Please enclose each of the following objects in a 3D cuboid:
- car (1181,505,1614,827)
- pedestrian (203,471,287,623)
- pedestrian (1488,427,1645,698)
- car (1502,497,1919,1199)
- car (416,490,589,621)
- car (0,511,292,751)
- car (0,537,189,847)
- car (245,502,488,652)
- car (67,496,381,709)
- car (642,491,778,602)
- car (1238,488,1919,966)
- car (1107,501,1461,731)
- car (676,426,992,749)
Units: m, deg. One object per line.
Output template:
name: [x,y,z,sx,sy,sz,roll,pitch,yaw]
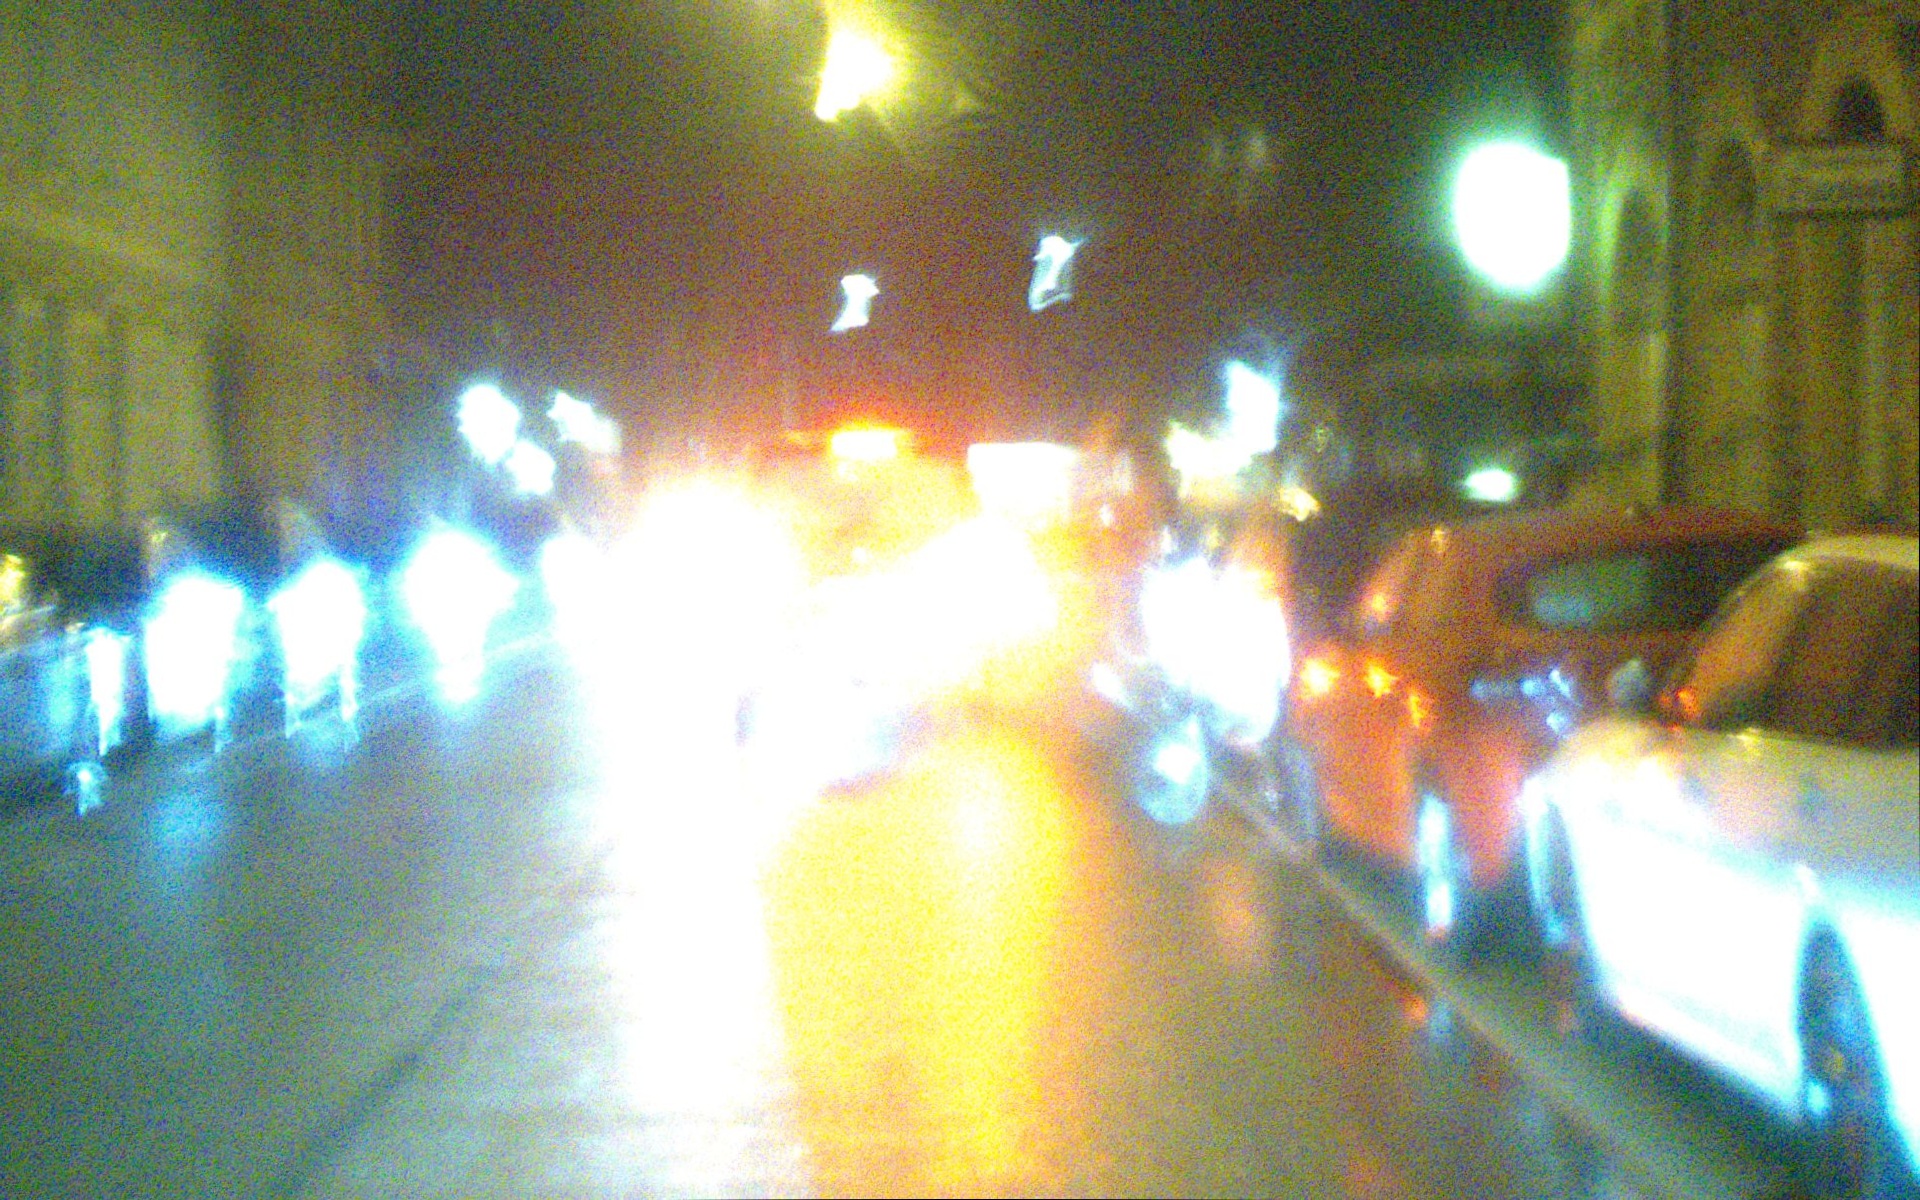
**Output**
car: [2.198,0.263,18.207,1.689,1.493,3.892,-1,1,-1]
pedestrian: [-8.682,-0.646,41.753,0.743,1.798,0.986,1,1,3]
pedestrian: [4.148,-0.273,23.573,0.862,1.782,1.083,-3,2,3]
car: [2.652,0.482,8.055,1.993,1.459,4.417,-1,1,-1]
car: [-6.306,-0.652,47.856,1.832,1.711,4.595,-1,1,-1]
car: [-5.874,0.139,23.426,1.832,1.476,4.307,-1,1,-1]
car: [-5.338,0.401,17.603,1.822,1.385,4.426,-1,1,-1]
car: [-6.258,-0.288,36.729,1.832,1.481,4.595,-1,1,-1]
car: [-5.850,-0.026,27.724,1.745,1.583,3.766,-1,1,-1]
car: [-3.936,-0.887,54.789,1.920,1.612,4.575,-3,2,-2]
car: [2.204,0.354,12.939,1.689,1.493,3.892,-1,1,-4]
car: [2.123,0.045,23.568,1.917,1.407,4.001,-1,2,-2]
car: [-0.814,-0.145,24.312,1.996,2.042,4.694,-1,2,0]
